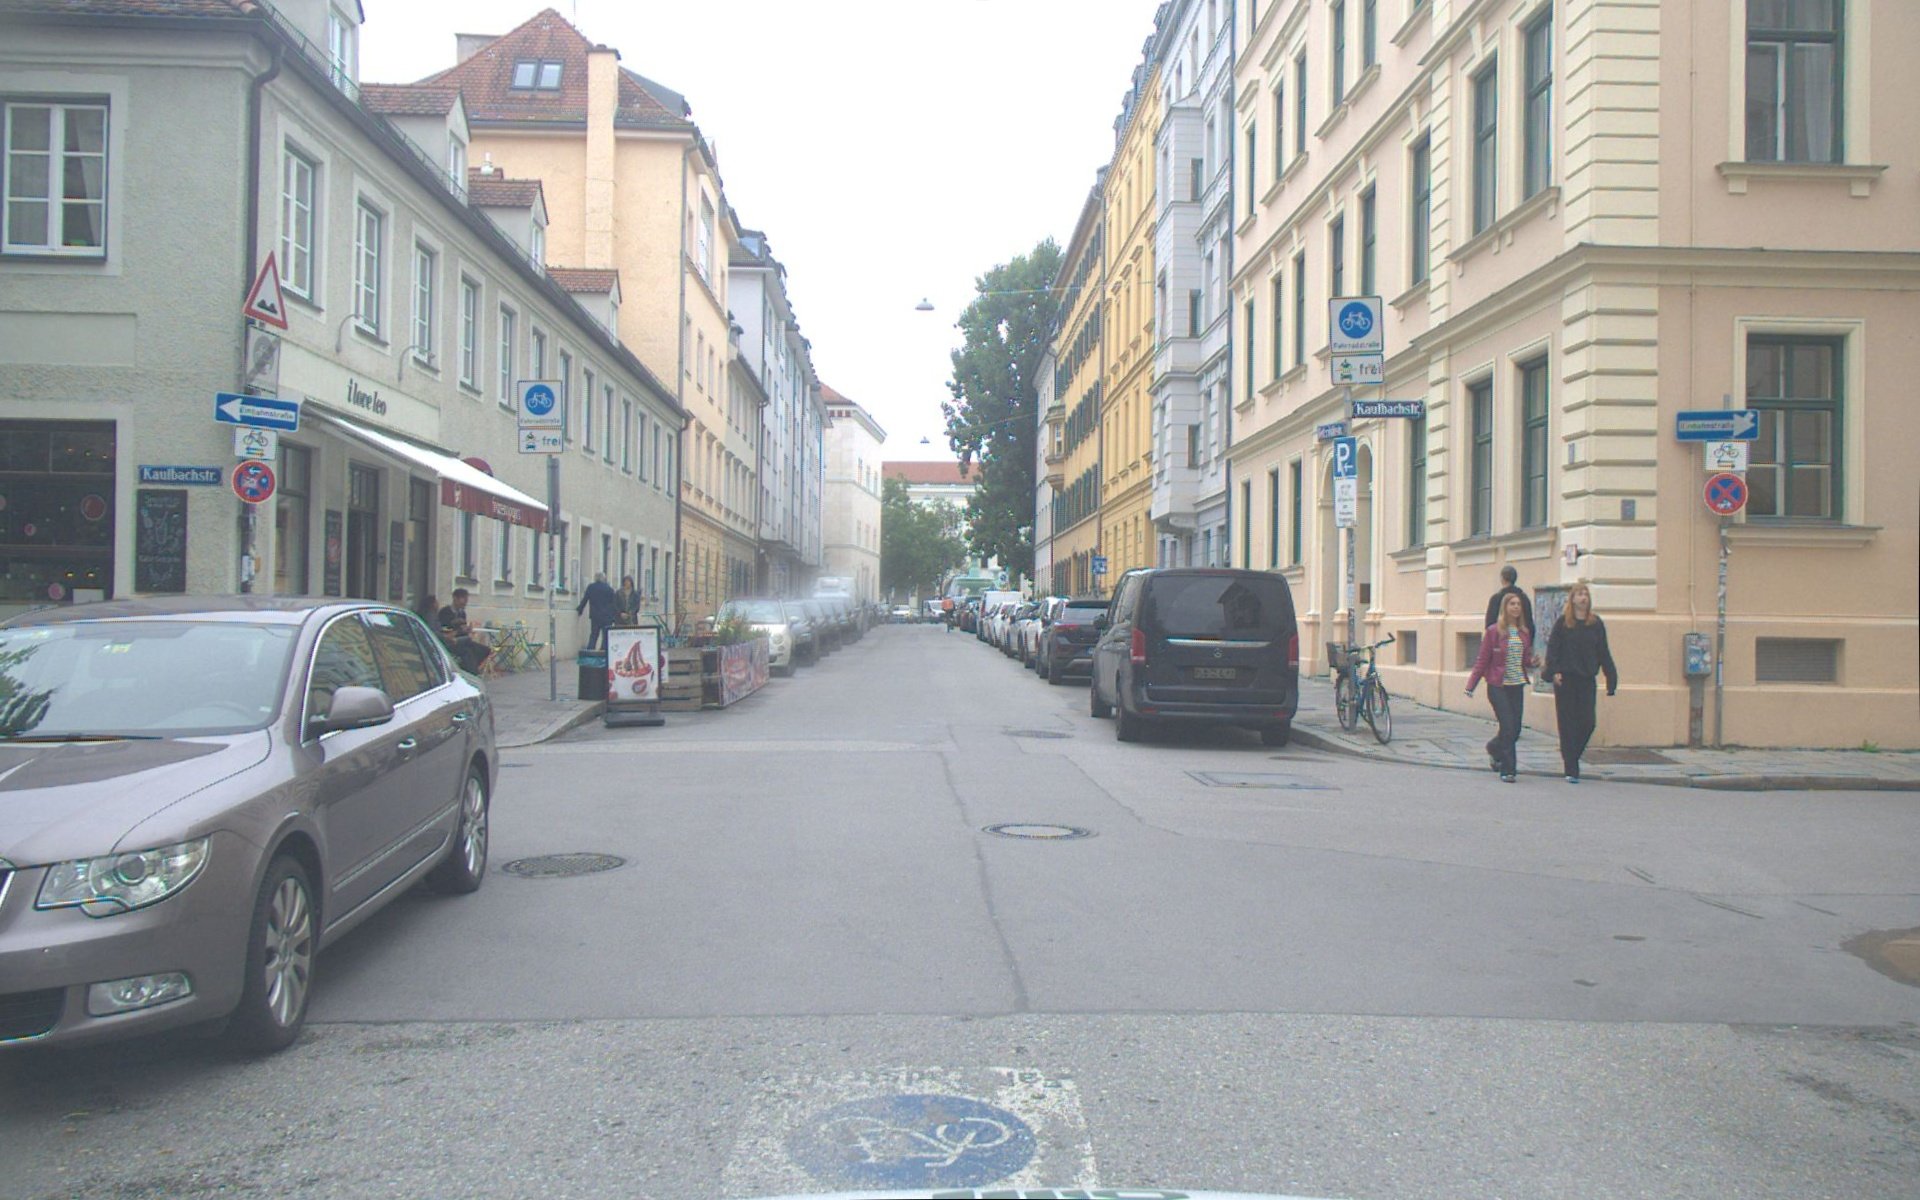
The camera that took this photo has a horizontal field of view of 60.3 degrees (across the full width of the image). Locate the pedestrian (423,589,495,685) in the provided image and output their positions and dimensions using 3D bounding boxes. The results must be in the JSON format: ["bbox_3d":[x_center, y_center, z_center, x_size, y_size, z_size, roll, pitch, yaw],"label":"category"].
[{"bbox_3d":[-6.942,0.511,22.943,0.787,1.312,0.693,0,-1,-2],"label":"pedestrian"}]

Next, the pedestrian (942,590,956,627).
[{"bbox_3d":[-0.531,0.424,79.206,0.629,1.744,0.842,0,-1,-1],"label":"pedestrian"}]

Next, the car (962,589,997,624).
[{"bbox_3d":[1.056,0.366,91.455,1.775,1.829,4.246,1,0,-1],"label":"car"}]

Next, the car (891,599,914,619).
[{"bbox_3d":[-4.858,0.782,140.473,1.671,1.609,3.863,-1,0,1],"label":"car"}]

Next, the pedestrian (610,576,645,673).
[{"bbox_3d":[-6.355,0.469,31.636,0.518,1.813,0.877,0,-1,-1],"label":"pedestrian"}]

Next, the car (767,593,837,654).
[{"bbox_3d":[-4.137,0.593,43.828,1.720,1.522,4.197,0,0,-4],"label":"car"}]

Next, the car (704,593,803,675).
[{"bbox_3d":[-4.018,0.640,32.605,1.720,1.501,3.710,1,0,-4],"label":"car"}]

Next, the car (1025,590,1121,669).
[{"bbox_3d":[2.414,0.614,36.267,1.707,1.611,4.465,0,0,-1],"label":"car"}]

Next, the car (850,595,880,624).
[{"bbox_3d":[-5.636,0.576,97.931,1.672,1.637,3.861,-1,0,-2],"label":"car"}]

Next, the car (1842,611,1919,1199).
[{"bbox_3d":[2.979,0.811,1.724,1.642,1.450,4.201,3,0,-4],"label":"car"}]

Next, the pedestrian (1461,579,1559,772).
[{"bbox_3d":[4.881,0.659,14.720,0.462,1.653,1.069,0,-1,-2],"label":"pedestrian"}]

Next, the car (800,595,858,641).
[{"bbox_3d":[-4.234,0.576,53.863,1.719,1.433,4.101,0,0,-3],"label":"car"}]

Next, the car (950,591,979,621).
[{"bbox_3d":[0.283,0.407,111.225,1.814,1.953,4.768,0,0,-1],"label":"car"}]

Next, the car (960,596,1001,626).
[{"bbox_3d":[1.009,0.554,84.450,1.775,1.449,4.244,1,0,-3],"label":"car"}]

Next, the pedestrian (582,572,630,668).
[{"bbox_3d":[-7.182,0.410,33.566,0.806,1.931,0.827,0,-1,-3],"label":"pedestrian"}]

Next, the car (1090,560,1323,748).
[{"bbox_3d":[2.731,0.550,19.569,1.956,1.897,5.253,1,0,0],"label":"car"}]

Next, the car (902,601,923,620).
[{"bbox_3d":[-4.176,0.914,146.628,1.671,1.609,3.863,-1,0,1],"label":"car"}]

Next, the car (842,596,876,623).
[{"bbox_3d":[-5.639,0.535,92.667,1.781,1.470,3.816,-1,0,-2],"label":"car"}]

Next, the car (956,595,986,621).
[{"bbox_3d":[0.688,0.512,105.358,1.775,1.642,4.155,0,0,-1],"label":"car"}]

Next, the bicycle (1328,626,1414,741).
[{"bbox_3d":[4.430,0.874,17.923,0.456,1.070,1.729,-2,2,-1],"label":"bicycle"}]

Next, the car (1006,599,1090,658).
[{"bbox_3d":[2.223,0.700,42.709,1.674,1.429,4.204,0,0,-4],"label":"car"}]

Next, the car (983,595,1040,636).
[{"bbox_3d":[1.818,0.548,59.668,1.674,1.417,4.203,0,0,-3],"label":"car"}]

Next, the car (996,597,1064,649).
[{"bbox_3d":[2.013,0.649,48.575,1.673,1.433,4.813,0,0,-1],"label":"car"}]

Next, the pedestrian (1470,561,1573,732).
[{"bbox_3d":[5.899,0.483,17.422,0.704,1.747,1.003,0,-1,-3],"label":"pedestrian"}]

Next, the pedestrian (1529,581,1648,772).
[{"bbox_3d":[5.598,0.670,14.785,0.645,1.649,0.979,0,-1,-2],"label":"pedestrian"}]

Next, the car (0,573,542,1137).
[{"bbox_3d":[-3.038,0.679,6.858,1.646,1.497,4.946,-1,0,-4],"label":"car"}]

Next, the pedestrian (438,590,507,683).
[{"bbox_3d":[-6.964,0.524,23.667,0.787,1.313,0.693,0,-1,-2],"label":"pedestrian"}]

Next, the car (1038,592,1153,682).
[{"bbox_3d":[2.461,0.645,30.909,1.719,1.547,4.273,0,0,-1],"label":"car"}]

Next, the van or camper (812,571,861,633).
[{"bbox_3d":[-4.753,0.085,64.109,1.719,2.321,5.270,0,0,-2],"label":"van or camper"}]

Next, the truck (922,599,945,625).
[{"bbox_3d":[-2.479,1.134,153.964,2.078,2.287,6.183,0,-1,-1],"label":"truck"}]

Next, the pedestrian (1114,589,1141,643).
[{"bbox_3d":[5.131,0.489,50.725,0.647,1.599,0.642,-3,-1,-2],"label":"pedestrian"}]

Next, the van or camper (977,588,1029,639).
[{"bbox_3d":[1.650,0.508,64.675,1.796,1.904,5.077,0,0,-1],"label":"van or camper"}]

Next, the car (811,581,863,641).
[{"bbox_3d":[-4.400,0.381,58.786,1.720,2.030,4.620,0,0,-5],"label":"car"}]

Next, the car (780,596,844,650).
[{"bbox_3d":[-4.363,0.641,48.774,1.781,1.467,4.127,-1,0,-5],"label":"car"}]

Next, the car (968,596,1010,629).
[{"bbox_3d":[1.361,0.605,79.447,1.775,1.490,4.245,1,0,-2],"label":"car"}]

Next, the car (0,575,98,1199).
[{"bbox_3d":[-3.116,0.712,2.352,1.645,1.497,4.097,-1,0,-1],"label":"car"}]

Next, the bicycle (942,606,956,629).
[{"bbox_3d":[-0.517,0.847,79.183,0.662,1.114,1.760,0,-1,-1],"label":"bicycle"}]

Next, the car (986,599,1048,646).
[{"bbox_3d":[1.868,0.722,54.910,1.674,1.480,4.093,0,0,-3],"label":"car"}]

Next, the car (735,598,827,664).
[{"bbox_3d":[-4.040,0.671,37.931,1.762,1.362,4.683,0,1,-2],"label":"car"}]
